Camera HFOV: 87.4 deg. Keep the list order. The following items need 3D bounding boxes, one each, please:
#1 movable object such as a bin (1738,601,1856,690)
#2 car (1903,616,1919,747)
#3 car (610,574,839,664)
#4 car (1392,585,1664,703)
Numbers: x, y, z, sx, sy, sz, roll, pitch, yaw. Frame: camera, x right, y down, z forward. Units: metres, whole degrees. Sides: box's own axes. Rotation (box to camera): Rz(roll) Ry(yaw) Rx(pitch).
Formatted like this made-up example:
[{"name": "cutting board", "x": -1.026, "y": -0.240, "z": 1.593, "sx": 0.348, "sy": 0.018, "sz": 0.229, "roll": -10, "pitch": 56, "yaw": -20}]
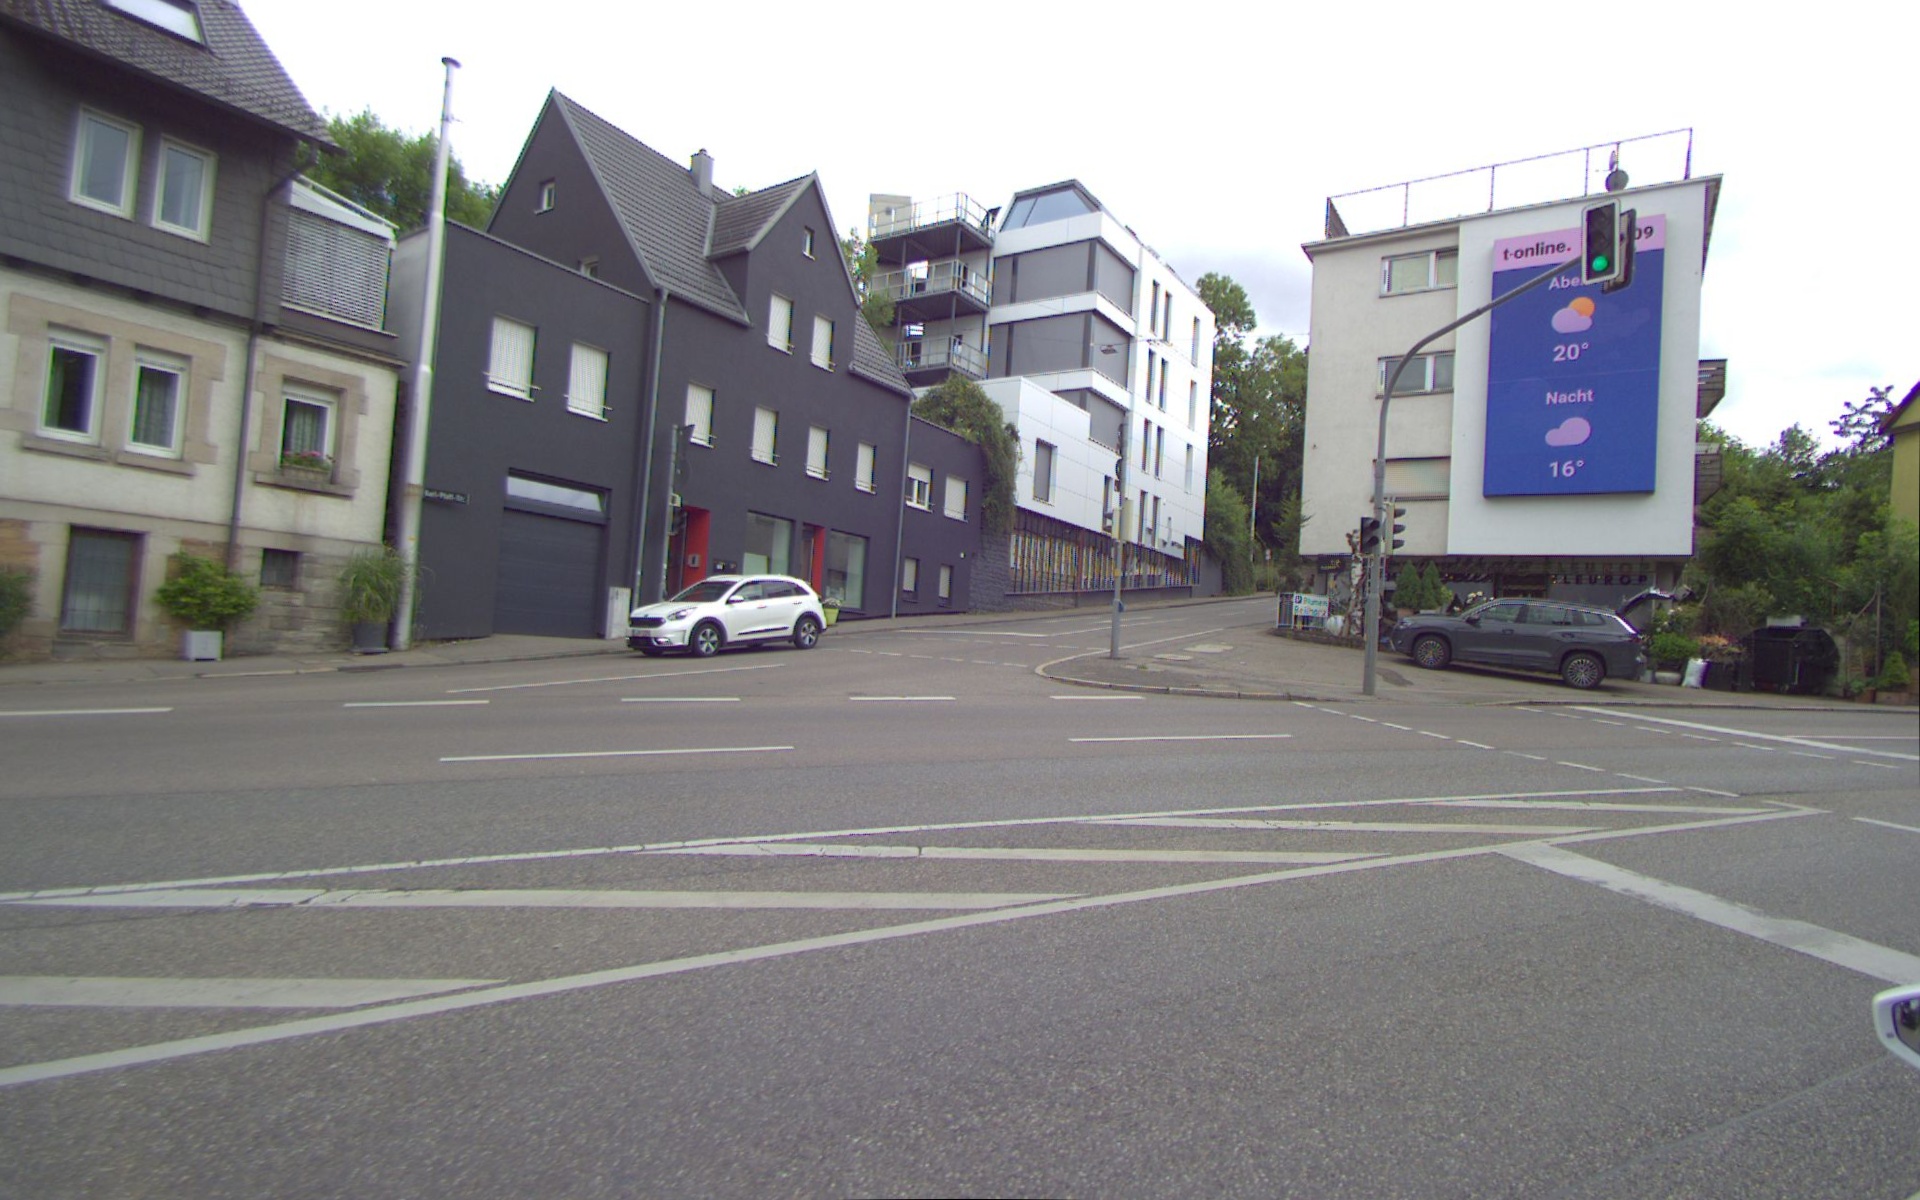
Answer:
[{"name": "movable object such as a bin", "x": 18.341, "y": 0.961, "z": 22.004, "sx": 1.842, "sy": 1.803, "sz": 1.746, "roll": 2, "pitch": 0, "yaw": -43}, {"name": "car", "x": 14.930, "y": 1.154, "z": 13.007, "sx": 4.272, "sy": 1.718, "sz": 1.897, "roll": 2, "pitch": -1, "yaw": -13}, {"name": "car", "x": -4.602, "y": 0.277, "z": 20.214, "sx": 1.858, "sy": 1.589, "sz": 4.374, "roll": 2, "pitch": 2, "yaw": 35}, {"name": "car", "x": 11.844, "y": 0.793, "z": 21.106, "sx": 4.625, "sy": 1.736, "sz": 2.311, "roll": 7, "pitch": 6, "yaw": 34}]
